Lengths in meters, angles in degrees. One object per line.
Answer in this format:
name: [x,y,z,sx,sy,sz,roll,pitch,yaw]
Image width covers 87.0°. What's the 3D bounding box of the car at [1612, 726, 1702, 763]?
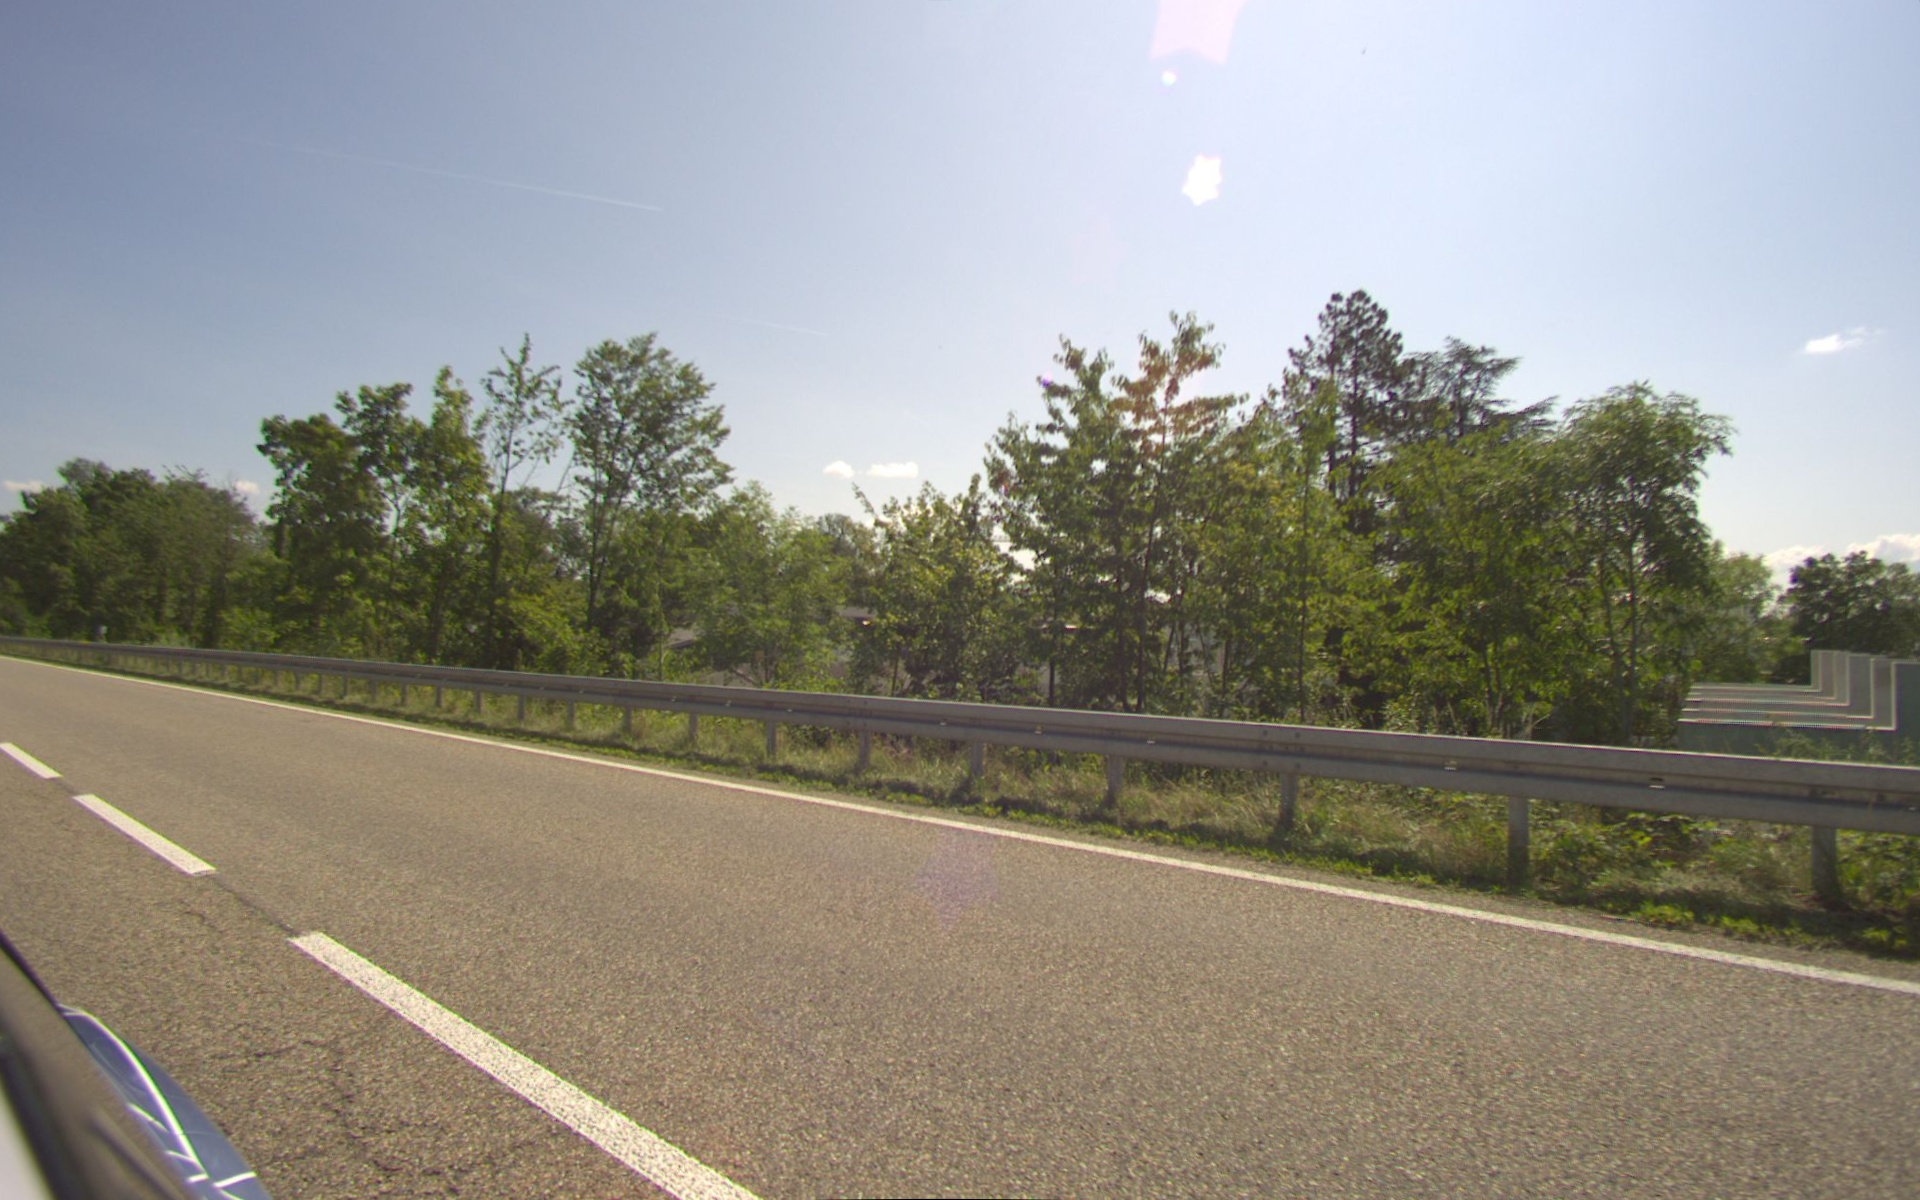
car: [39.431,8.153,57.279,3.976,1.696,1.680,-1,-4,45]
